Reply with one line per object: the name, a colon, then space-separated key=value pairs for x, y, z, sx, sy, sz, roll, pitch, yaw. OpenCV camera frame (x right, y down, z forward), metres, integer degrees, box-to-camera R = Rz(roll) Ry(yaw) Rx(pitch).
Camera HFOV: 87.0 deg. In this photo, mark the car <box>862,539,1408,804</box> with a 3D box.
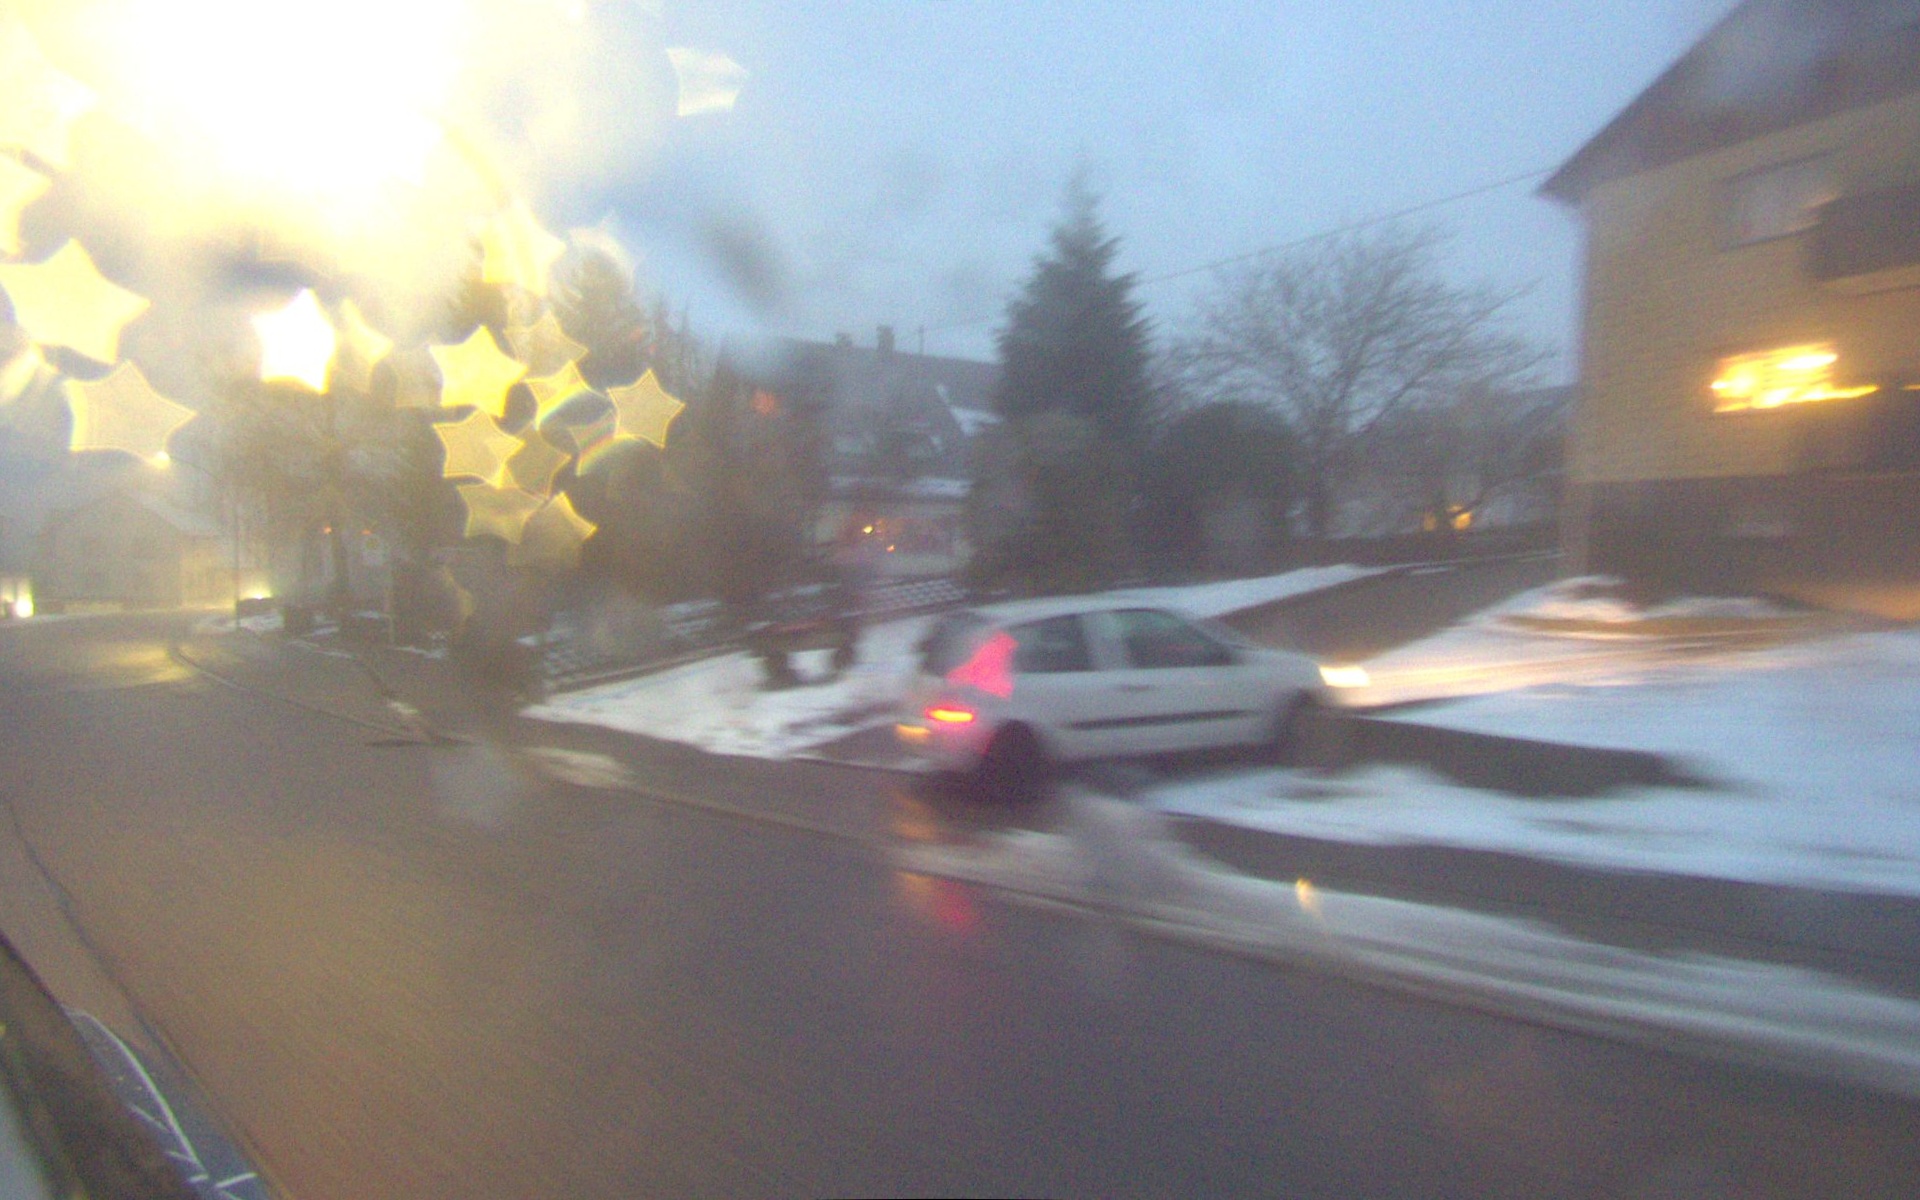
car: x=1.351 y=0.443 z=8.383 sx=3.933 sy=1.621 sz=1.909 roll=-4 pitch=2 yaw=-15
